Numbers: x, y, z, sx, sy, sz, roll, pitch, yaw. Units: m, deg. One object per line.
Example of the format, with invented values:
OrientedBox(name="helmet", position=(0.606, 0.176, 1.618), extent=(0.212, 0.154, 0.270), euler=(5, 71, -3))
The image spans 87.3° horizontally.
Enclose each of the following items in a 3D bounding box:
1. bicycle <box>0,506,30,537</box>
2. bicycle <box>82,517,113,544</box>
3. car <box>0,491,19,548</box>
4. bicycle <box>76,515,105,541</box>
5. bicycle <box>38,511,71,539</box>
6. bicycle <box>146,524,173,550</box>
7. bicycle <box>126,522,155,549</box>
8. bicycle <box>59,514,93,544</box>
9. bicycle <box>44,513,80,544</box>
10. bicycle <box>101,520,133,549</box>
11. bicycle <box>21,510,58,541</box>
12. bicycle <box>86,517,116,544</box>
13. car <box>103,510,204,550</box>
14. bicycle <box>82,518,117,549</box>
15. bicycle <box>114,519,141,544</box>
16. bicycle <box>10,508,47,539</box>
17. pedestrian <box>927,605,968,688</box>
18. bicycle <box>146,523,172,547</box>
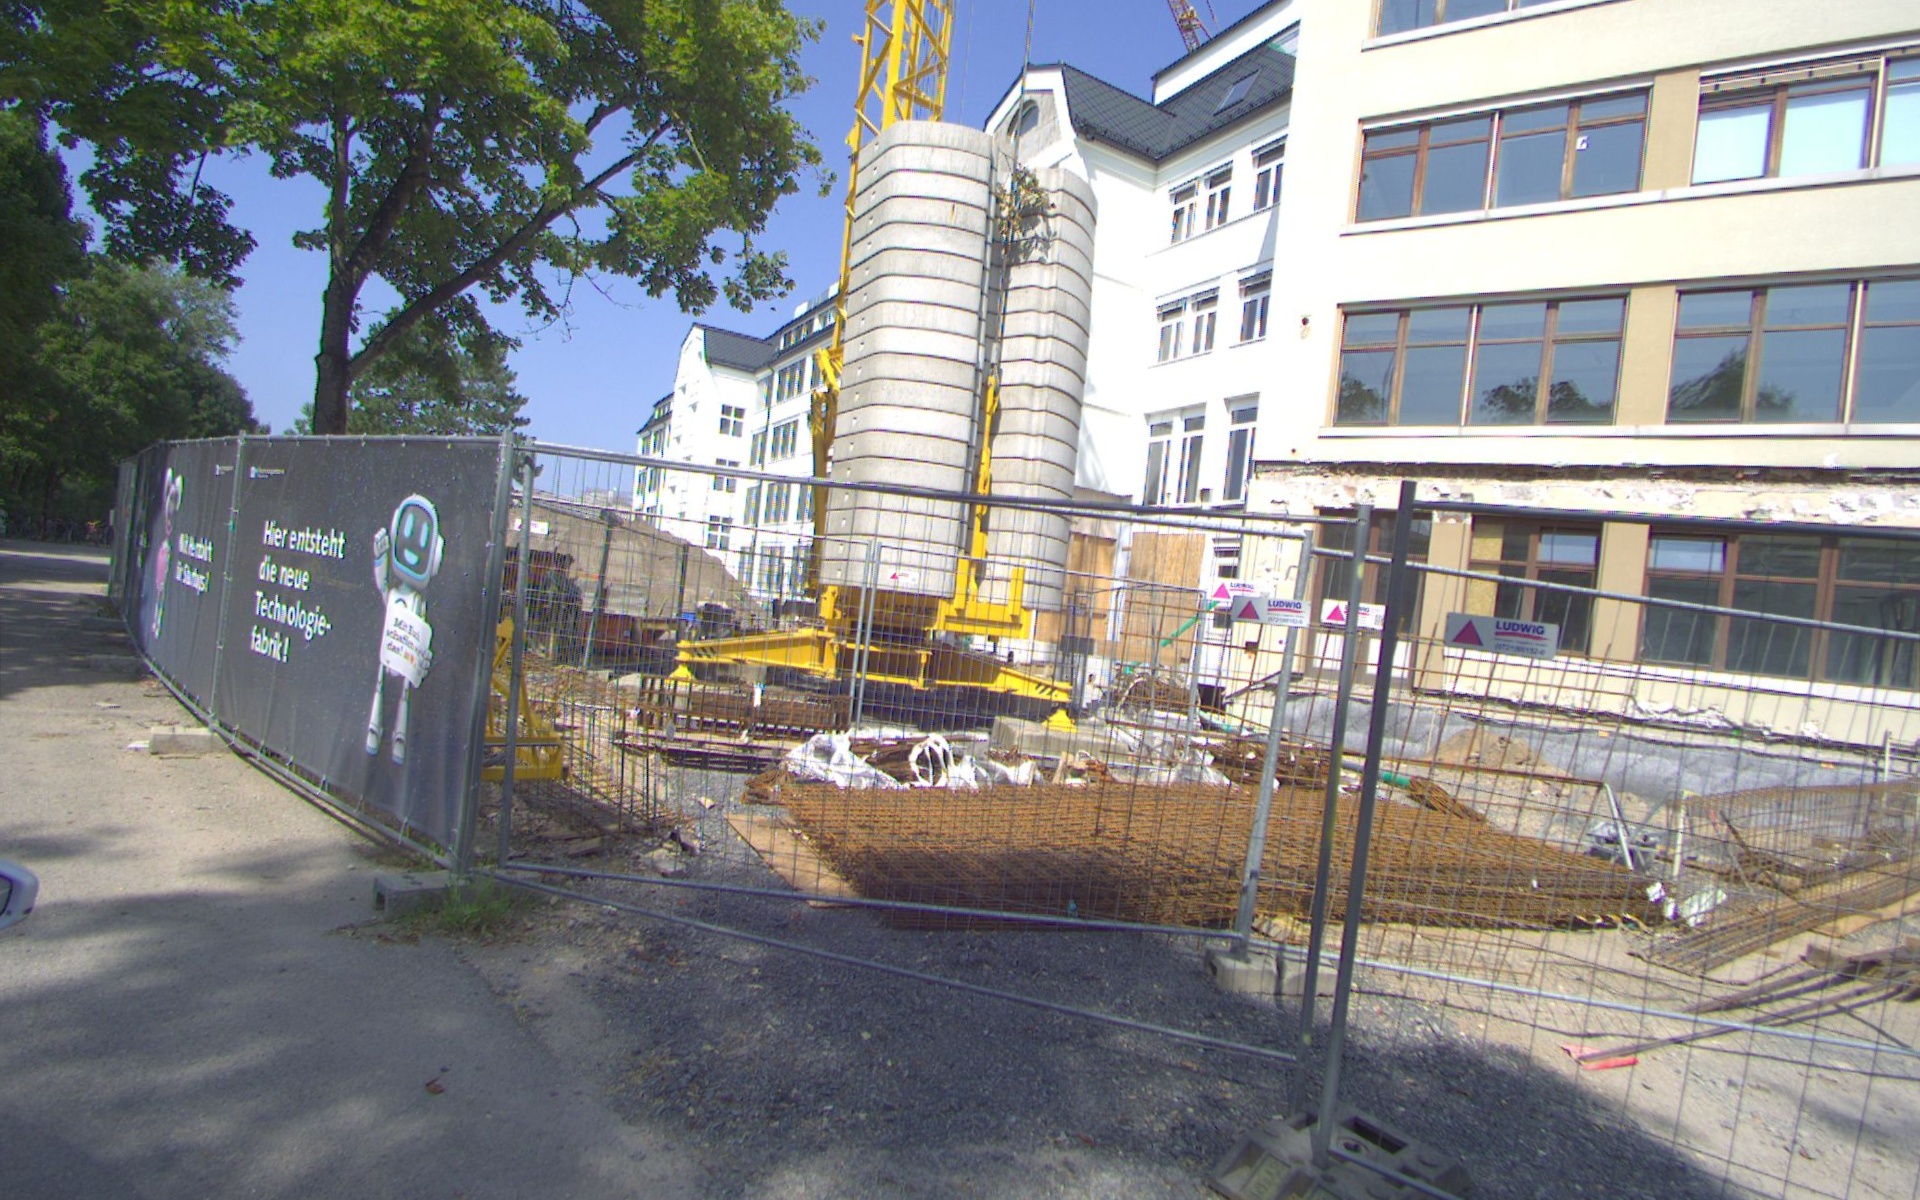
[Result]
OrientedBox(name="bicycle", position=(-38.482, -3.175, 40.810), extent=(0.494, 1.121, 1.789), euler=(7, -1, -25))
OrientedBox(name="bicycle", position=(-38.383, -3.082, 44.804), extent=(0.494, 1.121, 1.789), euler=(7, -1, -25))
OrientedBox(name="car", position=(-29.430, -2.574, 28.078), extent=(4.116, 1.632, 1.985), euler=(8, -1, -30))
OrientedBox(name="bicycle", position=(-41.962, -3.463, 48.560), extent=(0.494, 1.121, 1.789), euler=(7, -1, -25))
OrientedBox(name="bicycle", position=(-39.946, -3.301, 44.387), extent=(0.494, 1.121, 1.789), euler=(7, -1, -25))
OrientedBox(name="bicycle", position=(-38.255, -2.987, 48.085), extent=(0.494, 1.121, 1.789), euler=(7, -1, -25))
OrientedBox(name="bicycle", position=(-37.470, -2.933, 46.000), extent=(0.494, 1.121, 1.789), euler=(7, -1, -25))
OrientedBox(name="bicycle", position=(-37.038, -2.958, 42.157), extent=(0.494, 1.121, 1.789), euler=(7, -1, -25))
OrientedBox(name="bicycle", position=(-35.640, -2.829, 39.944), extent=(0.494, 1.121, 1.789), euler=(7, -1, -25))
OrientedBox(name="bicycle", position=(-35.544, -2.762, 42.448), extent=(0.494, 1.121, 1.789), euler=(7, -1, -25))
OrientedBox(name="bicycle", position=(-36.512, -2.941, 39.920), extent=(0.494, 1.121, 1.789), euler=(7, -1, -25))
OrientedBox(name="bicycle", position=(-39.648, -3.201, 46.467), extent=(0.494, 1.121, 1.789), euler=(7, -1, -25))
OrientedBox(name="car", position=(-43.607, -3.750, 54.522), extent=(3.960, 1.528, 1.785), euler=(8, -1, -32))
OrientedBox(name="bicycle", position=(-34.307, -2.651, 40.114), extent=(0.494, 1.121, 1.789), euler=(7, -1, -25))
OrientedBox(name="bicycle", position=(-41.034, -3.348, 49.579), extent=(0.494, 1.121, 1.789), euler=(7, -1, -25))
OrientedBox(name="bicycle", position=(-38.030, -3.122, 41.097), extent=(0.494, 1.121, 1.789), euler=(7, -1, -25))
OrientedBox(name="pedestrian", position=(-0.250, 0.914, 19.884), extent=(0.517, 1.546, 0.493), euler=(6, 0, -22))
OrientedBox(name="bicycle", position=(-40.115, -3.236, 50.389), extent=(0.494, 1.121, 1.789), euler=(7, -1, -25))
